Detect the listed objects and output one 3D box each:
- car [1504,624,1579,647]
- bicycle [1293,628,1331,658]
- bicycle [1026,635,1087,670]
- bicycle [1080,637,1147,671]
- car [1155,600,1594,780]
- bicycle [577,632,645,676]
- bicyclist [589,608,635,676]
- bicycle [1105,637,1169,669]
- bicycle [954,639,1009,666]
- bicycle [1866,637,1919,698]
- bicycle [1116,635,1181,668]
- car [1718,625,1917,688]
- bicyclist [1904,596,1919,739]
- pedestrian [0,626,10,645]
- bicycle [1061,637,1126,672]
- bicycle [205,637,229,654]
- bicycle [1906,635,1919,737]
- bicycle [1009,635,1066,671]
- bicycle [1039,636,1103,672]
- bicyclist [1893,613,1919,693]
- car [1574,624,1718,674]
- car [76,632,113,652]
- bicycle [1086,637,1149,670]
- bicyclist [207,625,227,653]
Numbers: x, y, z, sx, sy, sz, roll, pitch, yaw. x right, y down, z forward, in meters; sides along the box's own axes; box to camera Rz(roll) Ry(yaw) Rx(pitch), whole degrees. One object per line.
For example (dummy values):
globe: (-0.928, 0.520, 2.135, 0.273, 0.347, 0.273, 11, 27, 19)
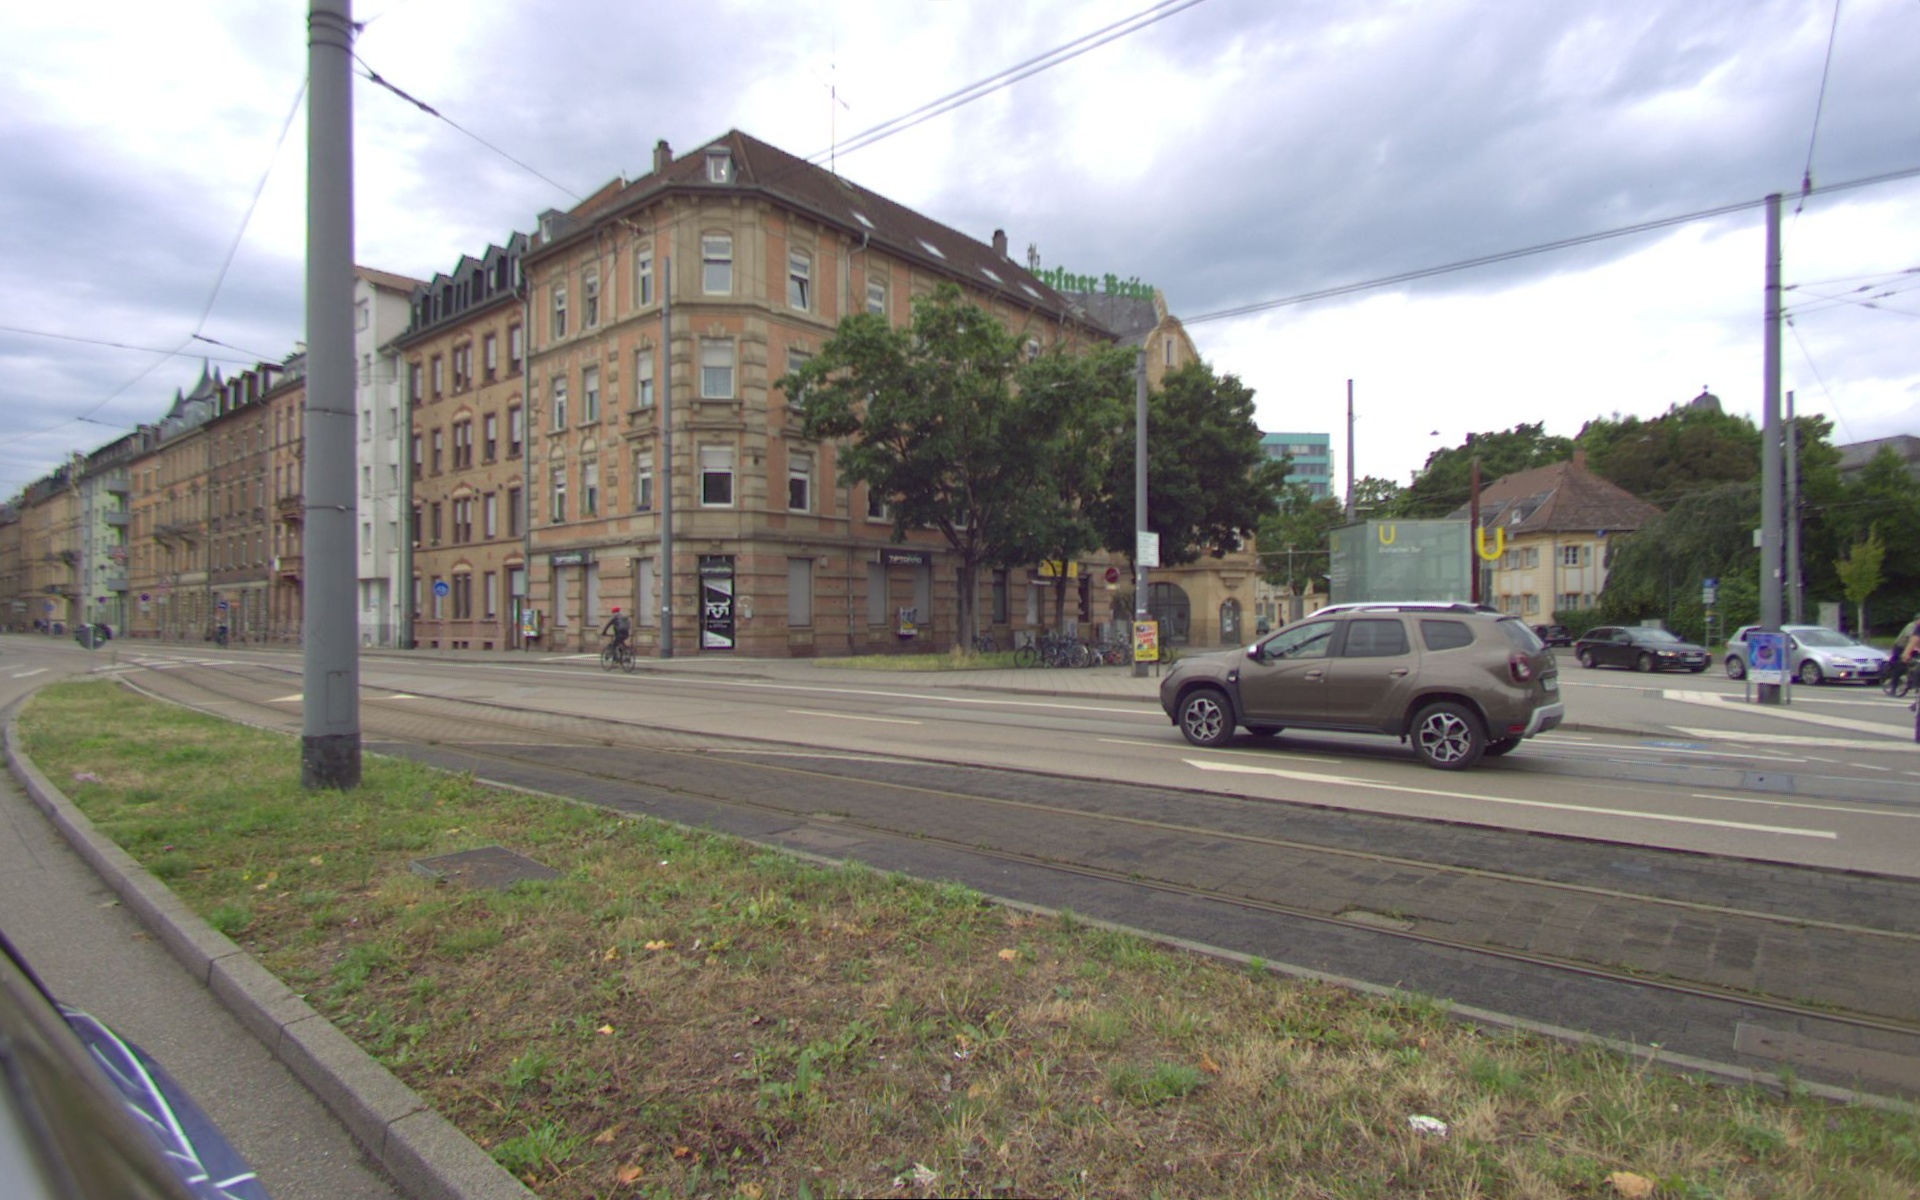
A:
car: (35.614, 2.155, 62.086, 1.904, 1.298, 4.006, 0, -1, -7)
bicycle: (13.936, 1.701, 40.123, 0.730, 1.123, 2.361, -1, -1, 3)
bicycle: (2.867, 1.557, 30.178, 0.513, 0.994, 2.041, 0, -1, -39)
bicycle: (4.804, 1.687, 31.834, 0.601, 0.994, 2.224, 0, -1, -39)
car: (4.508, 0.863, 11.402, 4.229, 1.652, 1.778, -1, -1, 42)
bicycle: (-10.021, 1.531, 29.026, 2.232, 1.217, 0.816, -2, -3, 40)
bicyclist: (-9.974, 1.196, 29.007, 1.048, 1.906, 0.821, -2, -3, 39)
bicycle: (5.762, 1.726, 33.155, 0.576, 0.994, 2.224, 0, -1, -39)
bicycle: (0.813, 1.965, 37.997, 1.982, 0.921, 0.655, -4, -5, 31)
bicycle: (19.964, 1.383, 20.710, 0.845, 1.217, 2.197, 0, -1, 1)
bicycle: (6.362, 1.725, 34.280, 0.678, 1.047, 2.224, 0, -1, -39)
car: (21.901, 1.386, 26.106, 1.739, 1.465, 4.156, -1, -1, 4)
bicyclist: (12.785, 0.856, 13.048, 0.816, 1.812, 1.015, -3, -3, 43)
pedestrian: (-105.014, 3.898, 111.227, 0.733, 2.029, 0.804, -1, -2, 41)
bicycle: (4.037, 1.634, 30.837, 0.492, 0.994, 2.224, 0, -1, -39)
bicycle: (-40.583, 2.476, 55.258, 1.716, 0.922, 0.600, -1, -1, 37)
bicycle: (12.735, 1.085, 12.989, 0.816, 1.252, 1.971, -3, -4, 43)
bicycle: (2.252, 1.540, 29.751, 0.492, 0.994, 1.872, 1, -2, -41)
bicycle: (3.319, 1.600, 30.504, 0.472, 1.014, 2.224, 0, -1, -39)
bicyclist: (19.969, 1.085, 20.712, 0.843, 1.635, 0.917, 0, -2, 1)
car: (21.801, 1.522, 32.377, 1.673, 1.460, 4.144, -1, -1, -1)
car: (-68.869, 3.314, 80.508, 3.828, 1.491, 1.828, -1, -2, 43)
bicycle: (5.038, 1.686, 32.492, 0.492, 0.994, 2.224, 0, -1, -39)
bicyclist: (-40.574, 2.100, 55.244, 0.941, 1.506, 0.655, -1, -1, 37)
